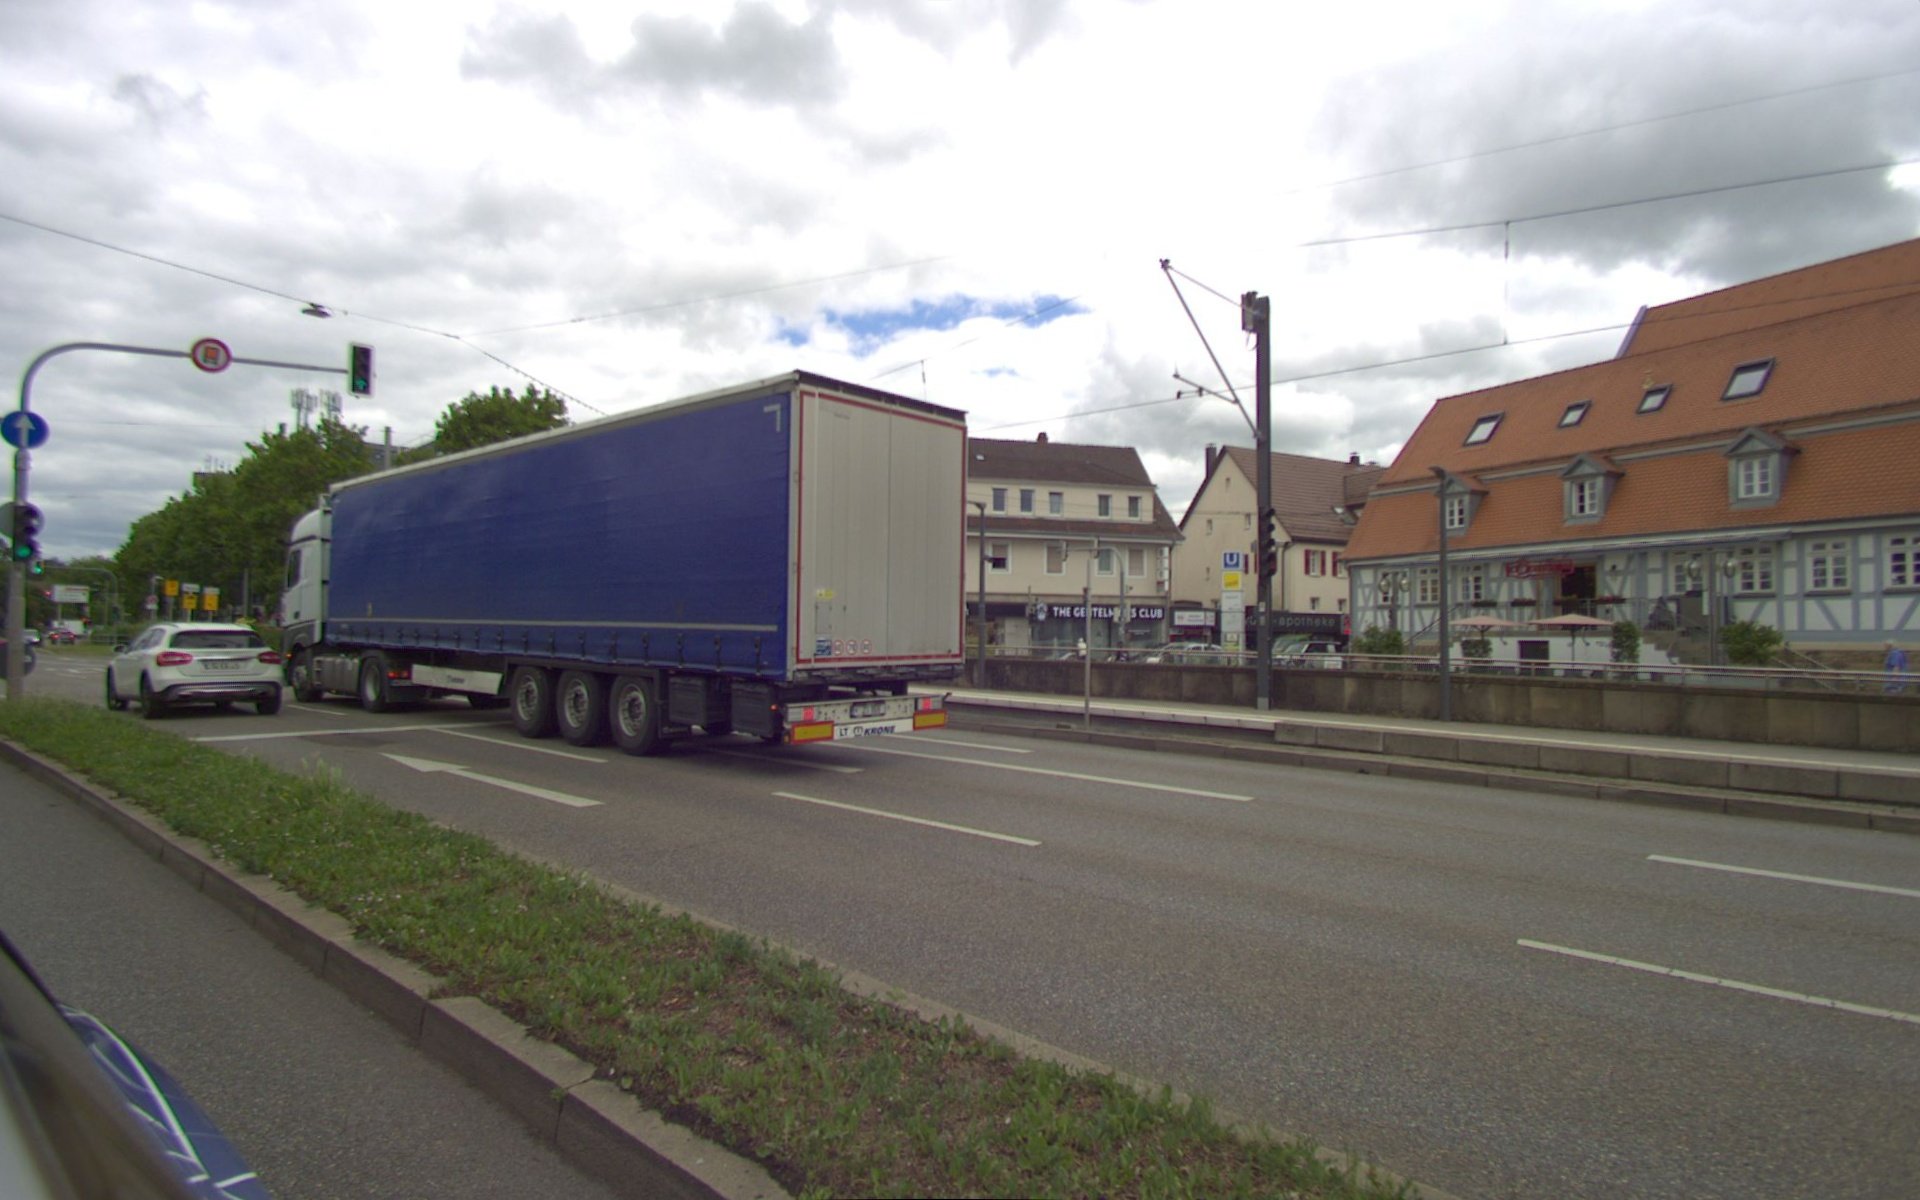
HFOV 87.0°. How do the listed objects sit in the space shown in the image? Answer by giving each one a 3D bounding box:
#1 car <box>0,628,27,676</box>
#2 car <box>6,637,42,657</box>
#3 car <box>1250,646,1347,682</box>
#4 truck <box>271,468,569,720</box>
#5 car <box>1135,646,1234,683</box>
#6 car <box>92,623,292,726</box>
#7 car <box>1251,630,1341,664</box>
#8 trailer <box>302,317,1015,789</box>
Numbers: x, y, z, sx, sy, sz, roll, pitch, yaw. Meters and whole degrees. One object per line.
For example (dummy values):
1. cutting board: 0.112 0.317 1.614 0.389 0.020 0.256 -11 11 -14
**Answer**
1. car: -31.527 1.610 32.134 4.765 1.470 1.975 -1 -2 38
2. car: -73.089 3.653 79.046 1.926 1.483 4.546 2 -3 -44
3. car: 16.380 3.084 49.038 4.004 1.664 2.006 1 -2 -15
4. truck: -10.507 0.020 19.453 6.153 4.053 3.058 -2 -3 42
5. car: 10.381 2.978 46.894 4.004 1.664 2.006 1 -2 -15
6. car: -13.031 1.183 17.082 4.361 1.527 1.768 -2 -3 40
7. car: 17.530 2.457 52.881 4.004 1.664 2.006 1 -2 -15
8. trailer: -5.886 -0.232 15.329 14.843 4.302 3.069 -2 -3 42
